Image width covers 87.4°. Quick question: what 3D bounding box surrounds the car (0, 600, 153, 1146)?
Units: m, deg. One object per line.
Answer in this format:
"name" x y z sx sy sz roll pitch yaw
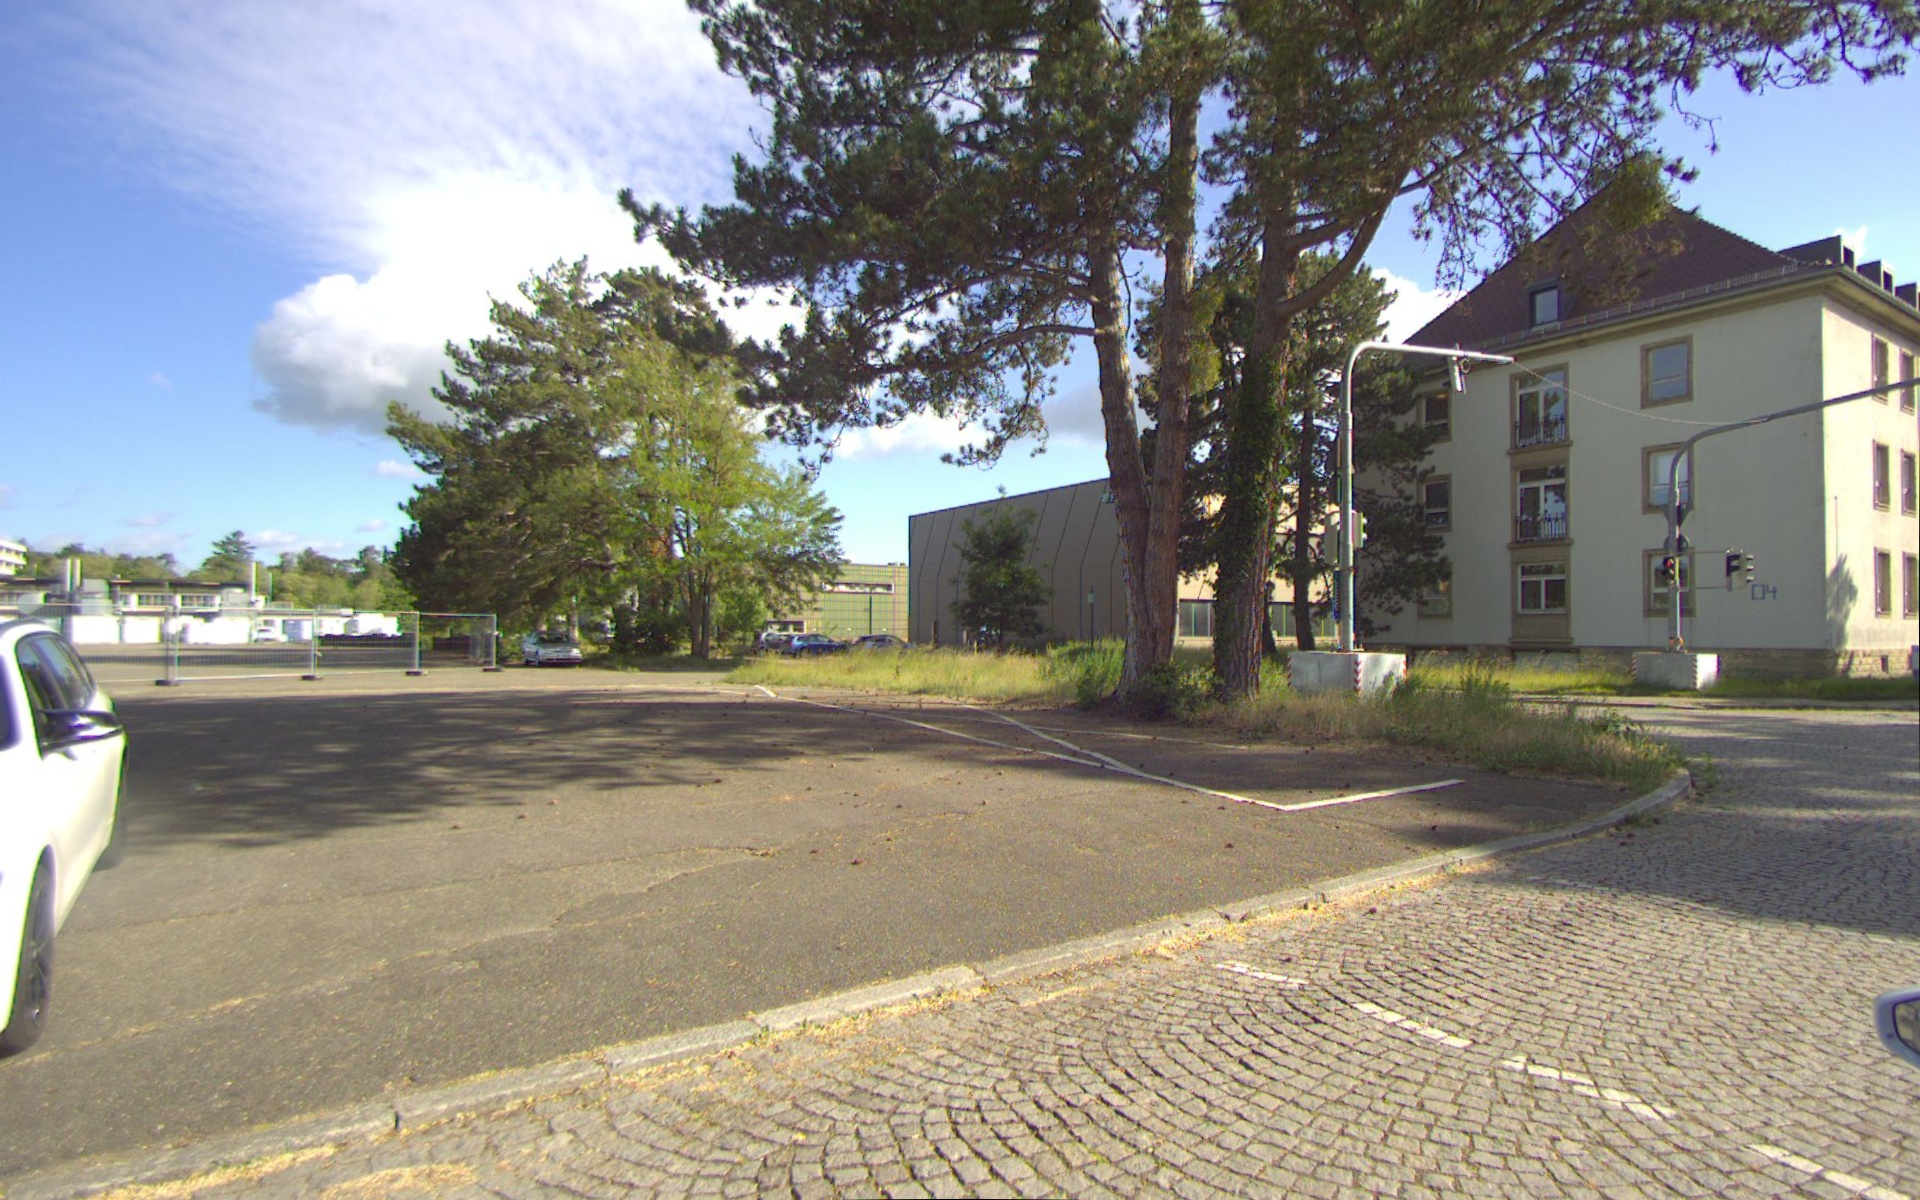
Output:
"car" -4.749 0.790 4.273 1.735 1.487 4.510 1 1 -35

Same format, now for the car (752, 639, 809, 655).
"car" -12.432 3.229 69.521 3.636 1.090 1.399 1 -2 -30

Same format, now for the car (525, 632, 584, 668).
"car" -16.500 1.987 40.777 1.727 1.388 3.593 1 -2 -30

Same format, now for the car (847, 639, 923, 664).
"car" -4.119 2.822 55.332 4.004 1.311 1.480 1 -2 -31

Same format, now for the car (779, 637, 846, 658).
"car" -9.244 2.970 63.096 3.953 1.221 1.480 1 -2 -30
